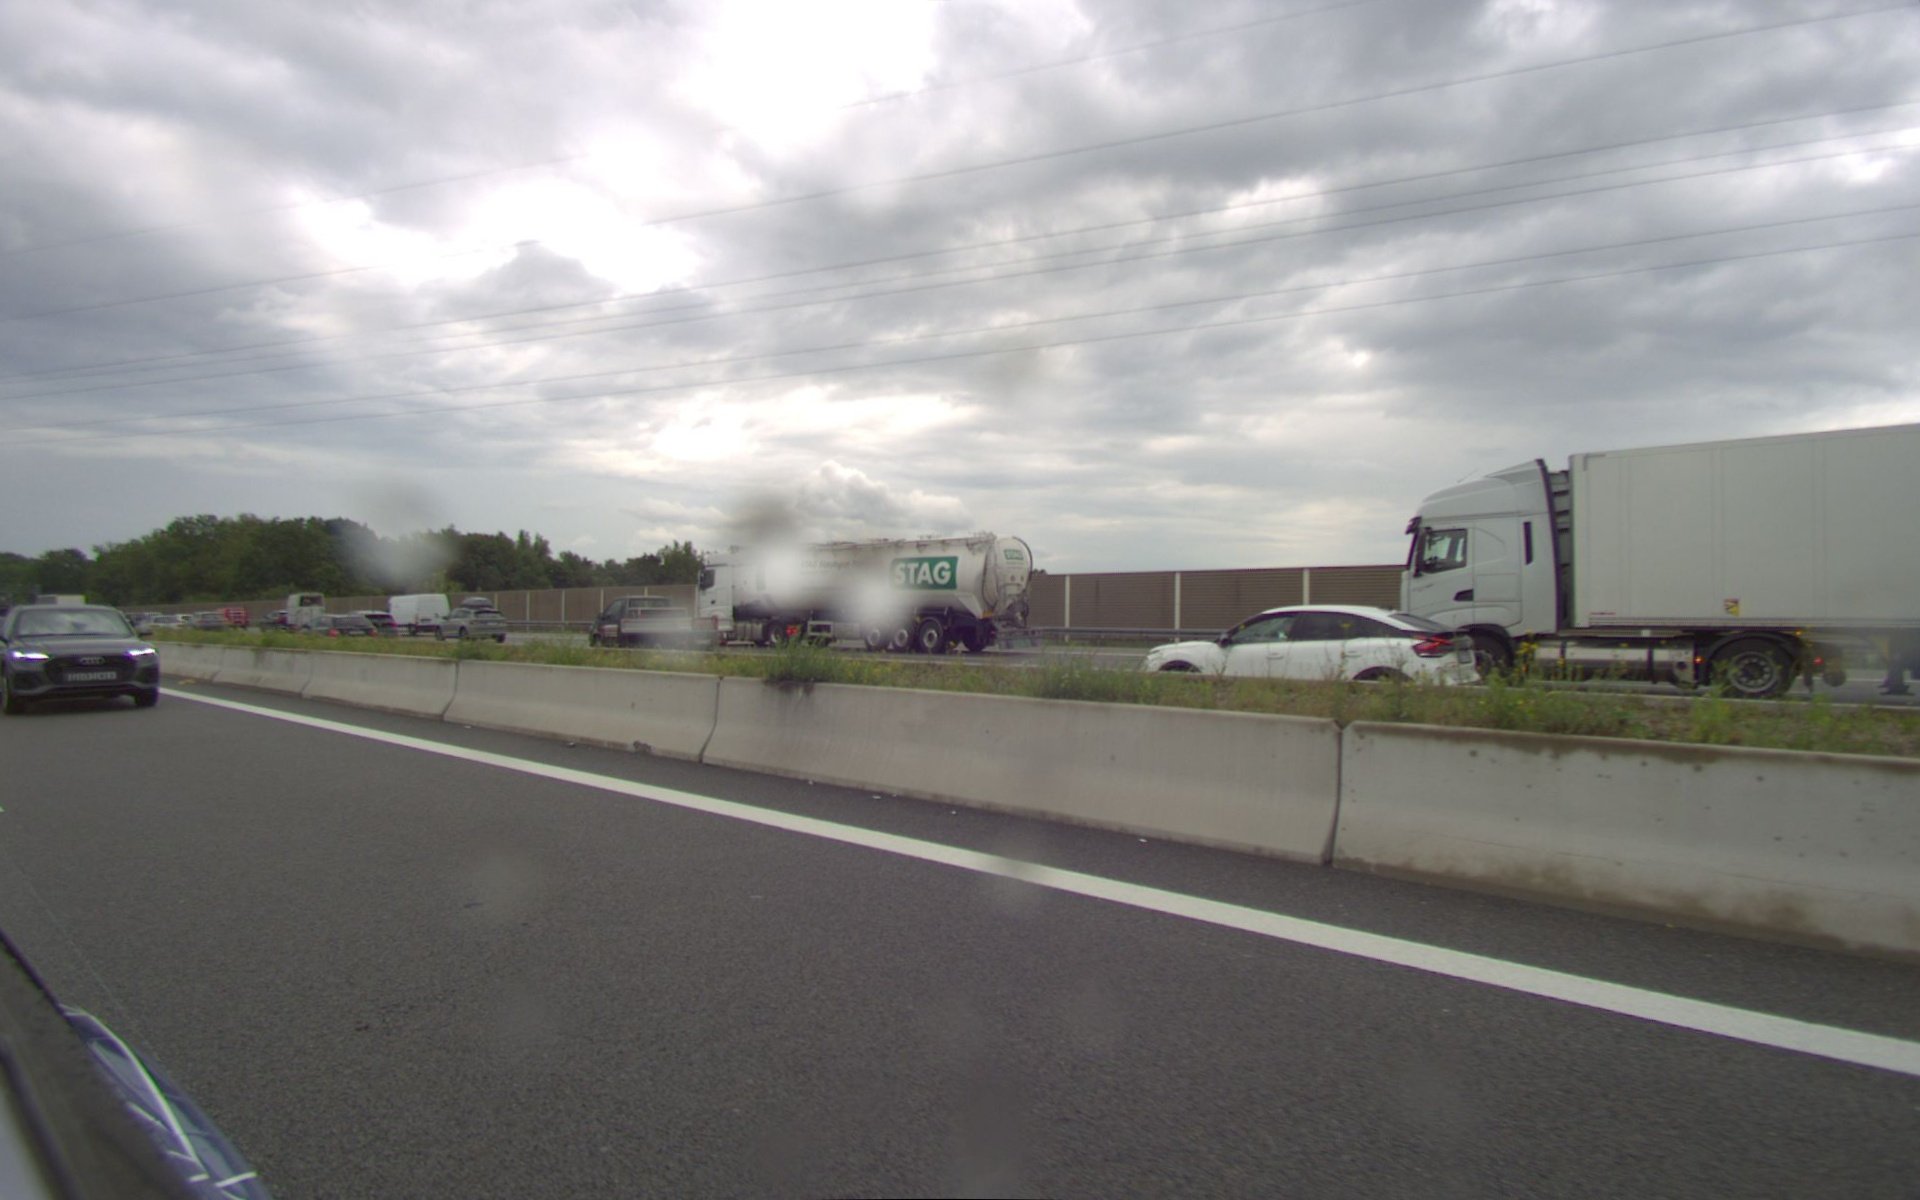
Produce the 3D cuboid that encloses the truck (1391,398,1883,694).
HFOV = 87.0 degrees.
[{"bbox_3d":[11.451,-0.729,17.497,6.523,4.078,3.621,-1,0,42],"label":"truck"}]

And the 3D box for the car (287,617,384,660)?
[{"bbox_3d":[-23.345,1.409,37.783,4.561,1.465,1.769,-1,0,40],"label":"car"}]

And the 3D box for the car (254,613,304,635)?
[{"bbox_3d":[-52.476,1.832,77.985,4.817,1.607,1.945,-1,0,40],"label":"car"}]

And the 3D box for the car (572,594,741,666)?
[{"bbox_3d":[-9.506,0.879,31.314,6.086,1.983,2.255,-1,0,43],"label":"car"}]

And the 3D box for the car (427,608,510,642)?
[{"bbox_3d":[-22.879,1.164,47.060,4.561,1.480,1.769,-1,0,40],"label":"car"}]

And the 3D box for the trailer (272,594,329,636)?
[{"bbox_3d":[-48.777,1.113,74.838,4.897,2.984,2.225,-1,0,40],"label":"trailer"}]

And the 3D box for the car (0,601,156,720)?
[{"bbox_3d":[-15.068,0.902,16.865,5.169,1.704,1.888,-1,-1,43],"label":"car"}]

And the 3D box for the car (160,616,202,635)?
[{"bbox_3d":[-64.077,2.053,83.200,4.939,1.465,1.747,-1,0,40],"label":"car"}]

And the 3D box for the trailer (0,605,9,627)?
[{"bbox_3d":[-180.487,3.076,189.088,14.045,3.993,2.650,-1,0,41],"label":"trailer"}]

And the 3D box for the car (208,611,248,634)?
[{"bbox_3d":[-63.840,1.954,88.244,4.939,1.982,1.747,-1,0,40],"label":"car"}]

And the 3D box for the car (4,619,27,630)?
[{"bbox_3d":[-132.719,3.420,142.163,5.157,1.548,1.747,-1,0,40],"label":"car"}]

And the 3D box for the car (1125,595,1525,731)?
[{"bbox_3d":[4.586,0.711,13.147,4.561,1.465,1.769,-1,0,40],"label":"car"}]

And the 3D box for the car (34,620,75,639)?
[{"bbox_3d":[-72.873,2.337,81.434,4.939,1.465,1.808,-1,0,40],"label":"car"}]

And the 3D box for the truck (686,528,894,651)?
[{"bbox_3d":[-6.806,-0.334,39.665,8.233,4.351,3.622,-1,0,41],"label":"truck"}]

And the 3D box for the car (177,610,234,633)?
[{"bbox_3d":[-49.820,1.403,66.822,4.939,1.465,1.945,-1,0,40],"label":"car"}]

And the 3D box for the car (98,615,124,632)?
[{"bbox_3d":[-104.045,2.864,124.015,3.999,2.029,1.981,-1,0,42],"label":"car"}]

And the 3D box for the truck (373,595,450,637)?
[{"bbox_3d":[-33.784,0.974,62.262,6.260,2.470,2.081,-1,0,41],"label":"truck"}]

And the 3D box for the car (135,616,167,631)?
[{"bbox_3d":[-88.622,2.565,110.847,4.939,1.622,1.747,-1,0,40],"label":"car"}]

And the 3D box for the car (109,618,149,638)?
[{"bbox_3d":[-66.024,2.201,80.416,4.230,1.465,1.747,-1,0,40],"label":"car"}]

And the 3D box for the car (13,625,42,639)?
[{"bbox_3d":[-104.406,3.552,113.302,5.157,1.548,1.747,-1,0,40],"label":"car"}]

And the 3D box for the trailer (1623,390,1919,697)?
[{"bbox_3d":[16.644,-0.833,12.802,13.396,4.139,3.621,-1,0,42],"label":"trailer"}]

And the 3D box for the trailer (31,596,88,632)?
[{"bbox_3d":[-108.053,1.692,121.345,13.278,4.092,3.286,-1,0,40],"label":"trailer"}]

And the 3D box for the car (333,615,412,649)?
[{"bbox_3d":[-27.727,1.487,47.714,4.561,1.465,1.769,-1,0,40],"label":"car"}]

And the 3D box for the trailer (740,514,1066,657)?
[{"bbox_3d":[-2.437,-0.368,35.653,12.461,4.268,3.622,-1,0,41],"label":"trailer"}]

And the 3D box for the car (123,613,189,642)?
[{"bbox_3d":[-44.987,1.530,56.614,4.736,1.538,1.974,-1,-1,40],"label":"car"}]

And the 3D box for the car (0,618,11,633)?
[{"bbox_3d":[-99.014,2.622,103.863,5.082,1.465,1.747,-1,0,40],"label":"car"}]
